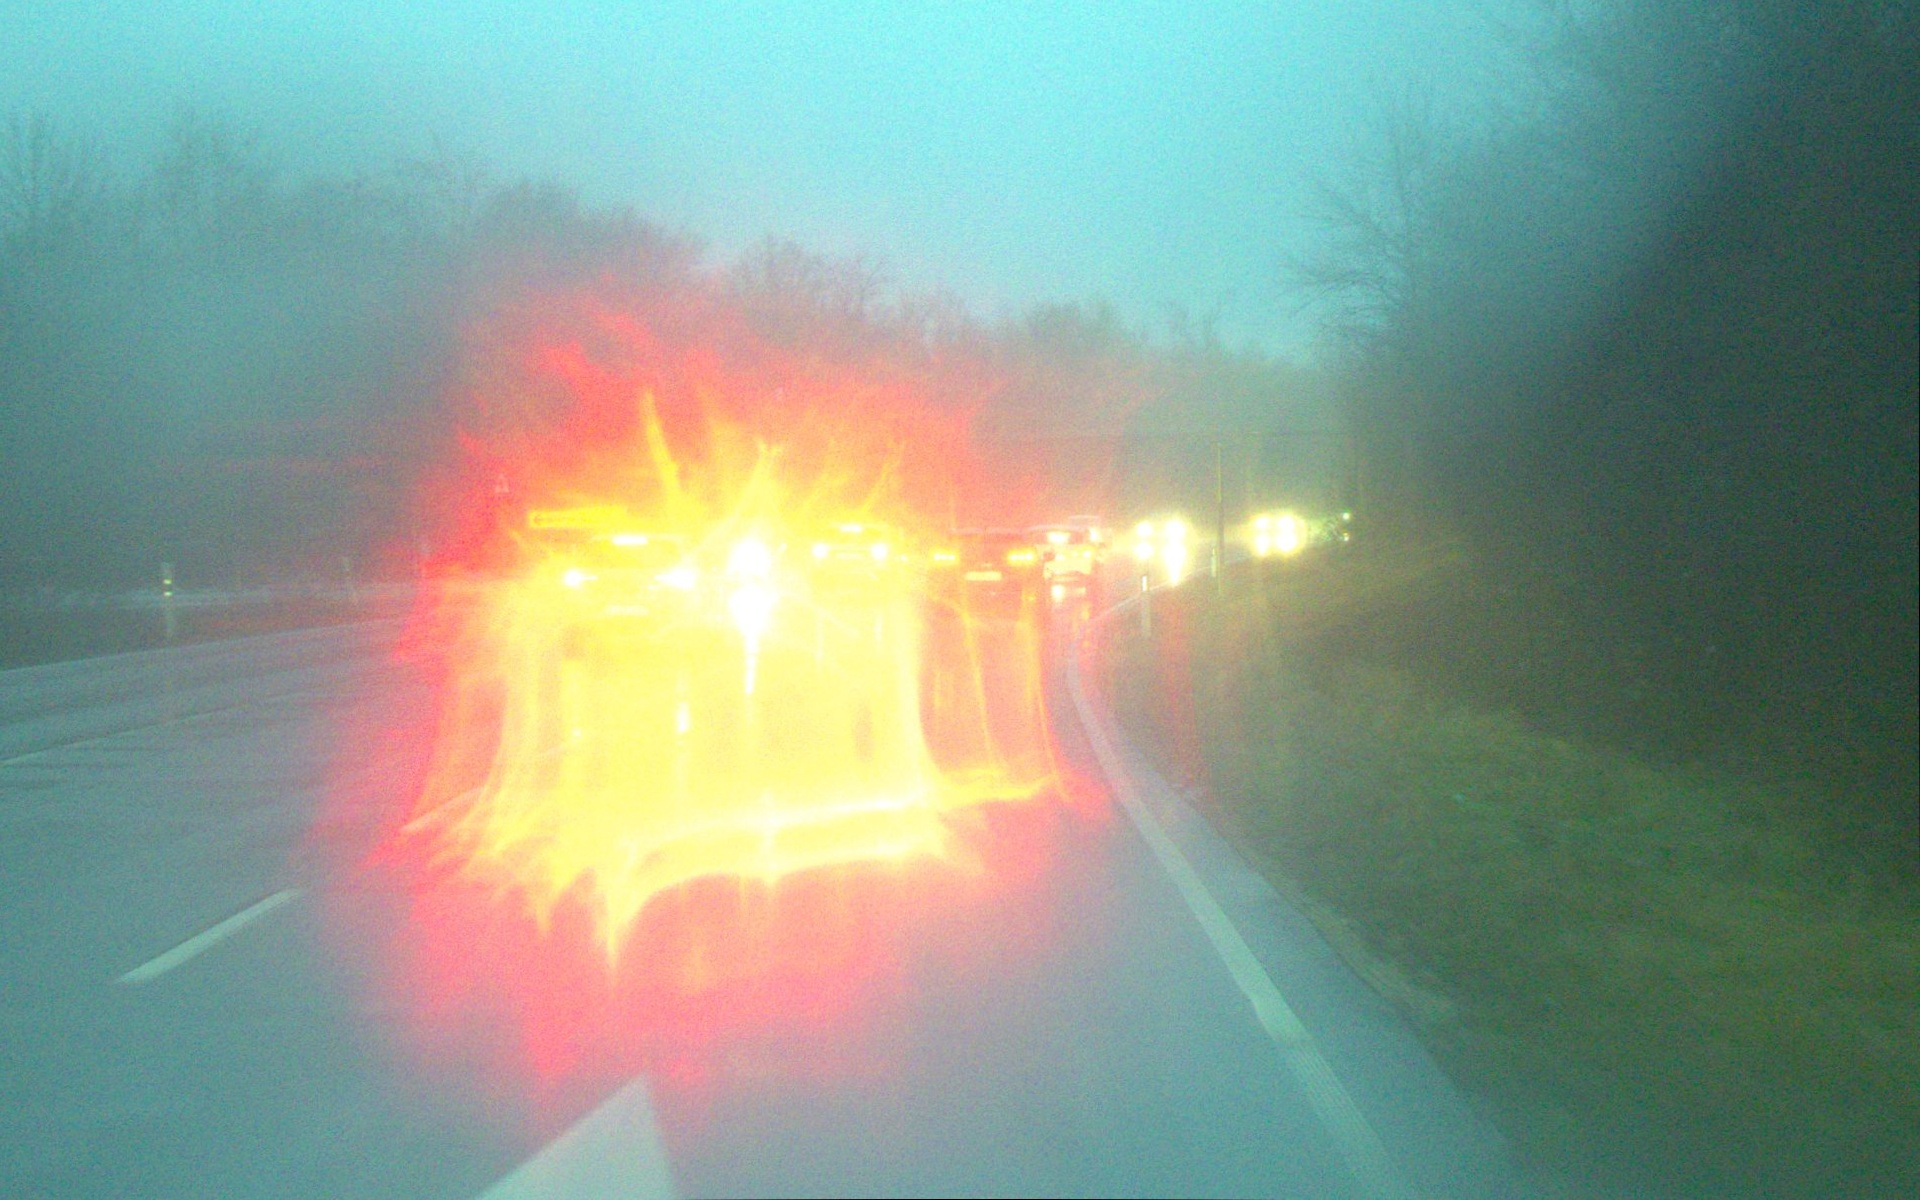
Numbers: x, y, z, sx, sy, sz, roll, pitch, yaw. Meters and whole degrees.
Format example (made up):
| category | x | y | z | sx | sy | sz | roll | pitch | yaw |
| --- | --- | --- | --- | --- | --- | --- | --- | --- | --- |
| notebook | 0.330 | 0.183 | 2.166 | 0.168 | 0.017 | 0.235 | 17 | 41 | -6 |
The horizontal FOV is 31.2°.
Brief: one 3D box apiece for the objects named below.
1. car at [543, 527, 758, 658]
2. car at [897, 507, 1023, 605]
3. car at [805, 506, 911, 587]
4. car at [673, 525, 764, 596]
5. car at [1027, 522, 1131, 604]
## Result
| category | x | y | z | sx | sy | sz | roll | pitch | yaw |
| --- | --- | --- | --- | --- | --- | --- | --- | --- | --- |
| car | -3.898 | -0.133 | 44.113 | 2.005 | 1.550 | 4.516 | 1 | 1 | 4 |
| car | 0.035 | -0.684 | 51.438 | 1.679 | 1.385 | 4.098 | 0 | 2 | 3 |
| car | -2.100 | -1.142 | 71.762 | 1.713 | 1.621 | 4.217 | 1 | 1 | 5 |
| car | -5.465 | -0.916 | 78.249 | 1.646 | 1.551 | 4.381 | 0 | 1 | 2 |
| car | 2.599 | -0.824 | 74.037 | 1.679 | 1.669 | 4.097 | 0 | 2 | 10 |
